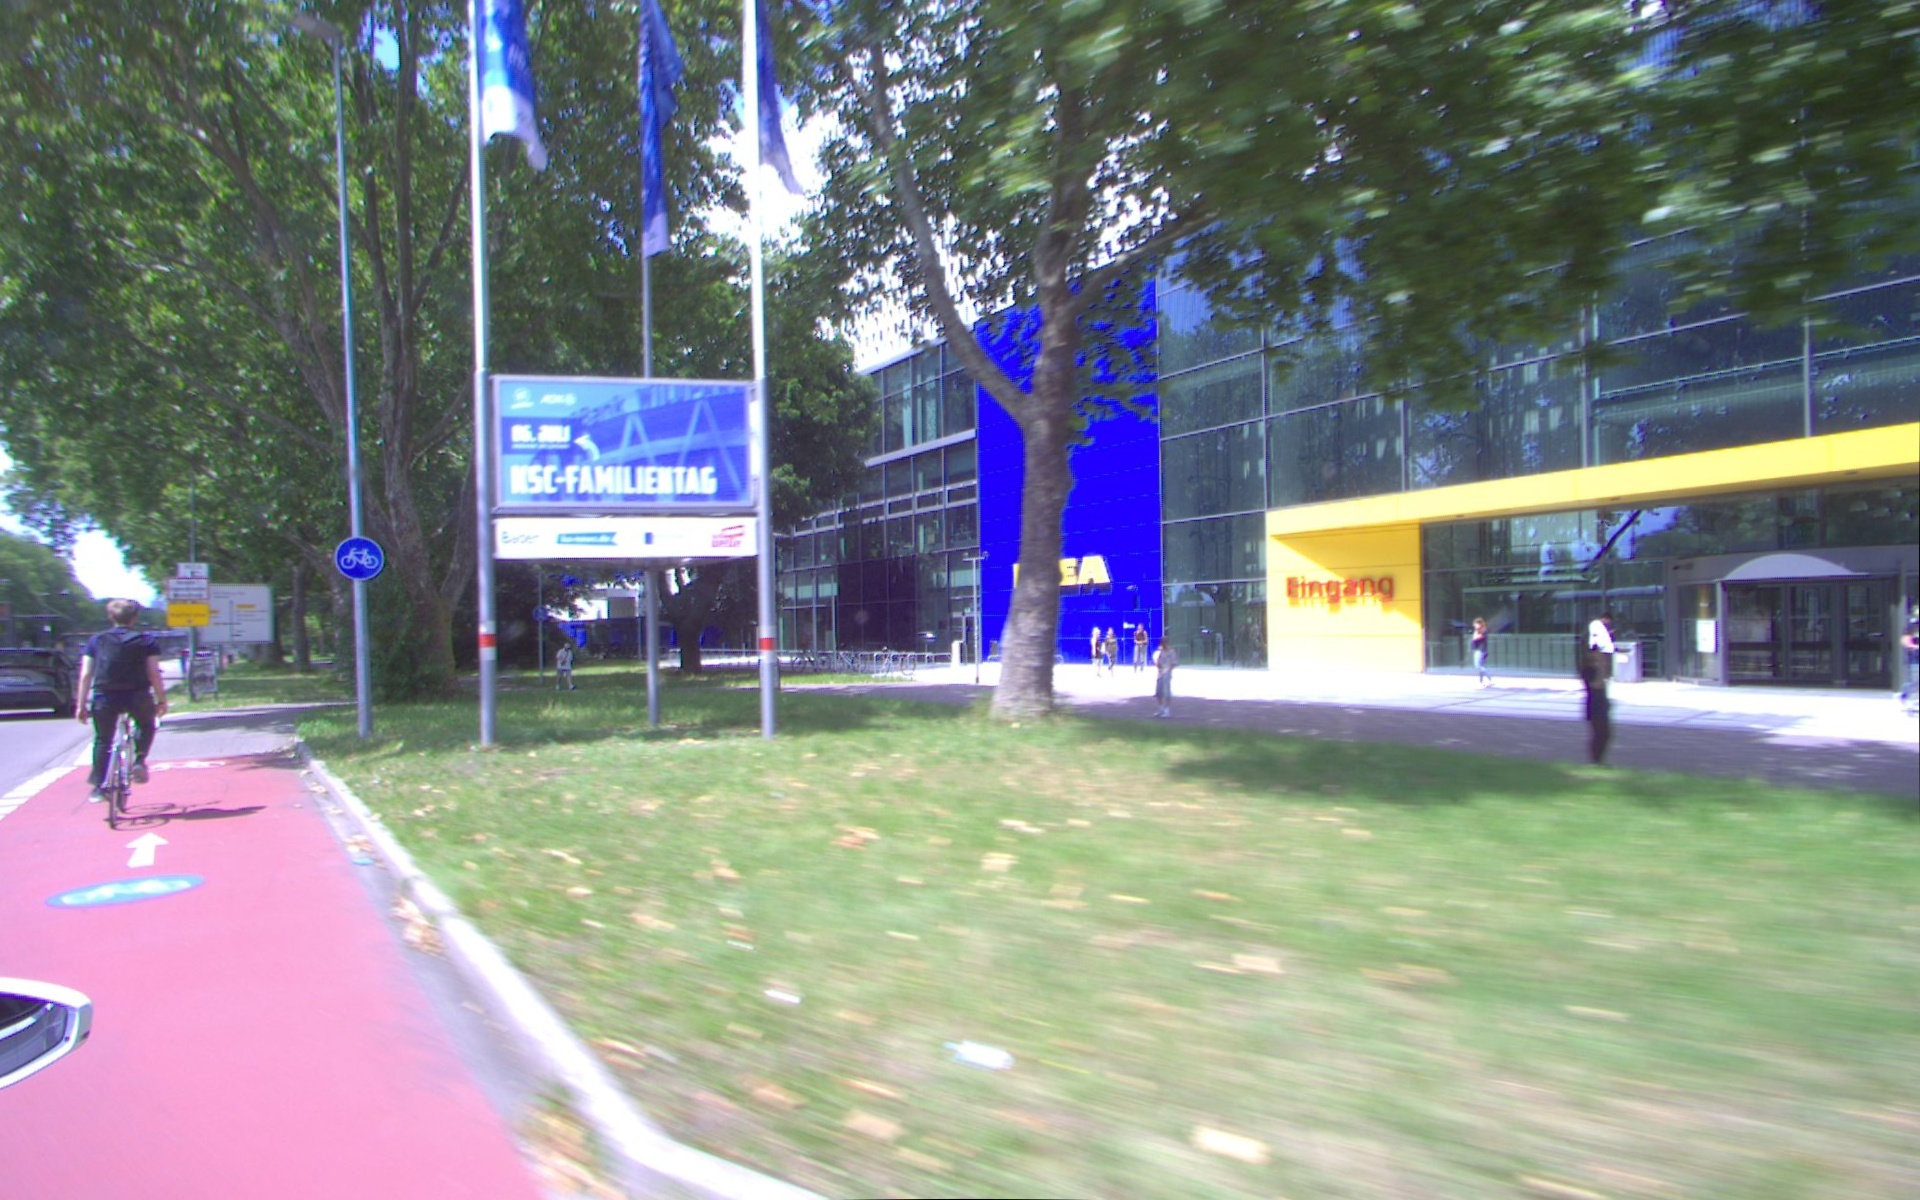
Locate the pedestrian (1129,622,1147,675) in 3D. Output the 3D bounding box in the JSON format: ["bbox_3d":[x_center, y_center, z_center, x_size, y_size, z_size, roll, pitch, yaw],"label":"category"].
[{"bbox_3d":[5.906,1.607,33.209,0.533,1.723,0.421,0,0,2],"label":"pedestrian"}]

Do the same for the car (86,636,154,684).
[{"bbox_3d":[-38.435,2.697,45.896,1.975,2.015,4.334,1,-1,-35],"label":"car"}]

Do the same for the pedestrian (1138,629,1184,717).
[{"bbox_3d":[4.207,1.504,20.936,0.657,1.794,0.665,0,-1,-33],"label":"pedestrian"}]

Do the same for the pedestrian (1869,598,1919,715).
[{"bbox_3d":[16.084,0.938,16.738,0.955,1.910,0.888,0,-1,6],"label":"pedestrian"}]

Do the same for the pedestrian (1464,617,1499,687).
[{"bbox_3d":[12.818,1.270,24.616,0.692,1.685,0.801,-1,0,25],"label":"pedestrian"}]

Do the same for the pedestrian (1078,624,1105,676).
[{"bbox_3d":[4.331,1.657,32.987,0.771,1.685,0.887,-1,-1,15],"label":"pedestrian"}]

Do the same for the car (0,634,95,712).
[{"bbox_3d":[-22.027,1.749,23.776,1.881,1.695,4.490,1,-4,-37],"label":"car"}]

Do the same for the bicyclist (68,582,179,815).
[{"bbox_3d":[-7.180,0.816,8.634,0.603,1.869,0.918,2,-2,-35],"label":"bicyclist"}]

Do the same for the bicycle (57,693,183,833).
[{"bbox_3d":[-7.215,1.339,8.673,0.614,1.011,2.011,2,-4,-34],"label":"bicycle"}]

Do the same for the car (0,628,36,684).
[{"bbox_3d":[-36.720,2.096,37.935,1.975,2.014,4.333,1,-2,-36],"label":"car"}]

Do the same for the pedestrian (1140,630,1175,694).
[{"bbox_3d":[5.235,1.637,26.541,0.585,1.637,0.661,-1,-2,-39],"label":"pedestrian"}]

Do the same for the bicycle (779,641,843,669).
[{"bbox_3d":[-6.555,2.398,43.914,2.726,1.136,0.896,-1,-1,-11],"label":"bicycle"}]

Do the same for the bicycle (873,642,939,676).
[{"bbox_3d":[-2.070,2.268,38.553,2.489,1.191,0.691,-1,0,-29],"label":"bicycle"}]

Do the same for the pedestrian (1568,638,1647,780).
[{"bbox_3d":[8.267,1.365,12.778,0.709,1.686,0.590,-3,3,-31],"label":"pedestrian"}]

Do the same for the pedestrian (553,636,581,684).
[{"bbox_3d":[-14.353,2.178,36.580,0.768,1.717,0.885,1,-2,-36],"label":"pedestrian"}]

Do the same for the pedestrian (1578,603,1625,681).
[{"bbox_3d":[16.023,1.052,25.010,0.608,1.910,0.779,0,-1,-26],"label":"pedestrian"}]

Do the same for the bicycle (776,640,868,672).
[{"bbox_3d":[-5.779,2.353,42.012,3.766,1.191,0.986,-1,0,-11],"label":"bicycle"}]
